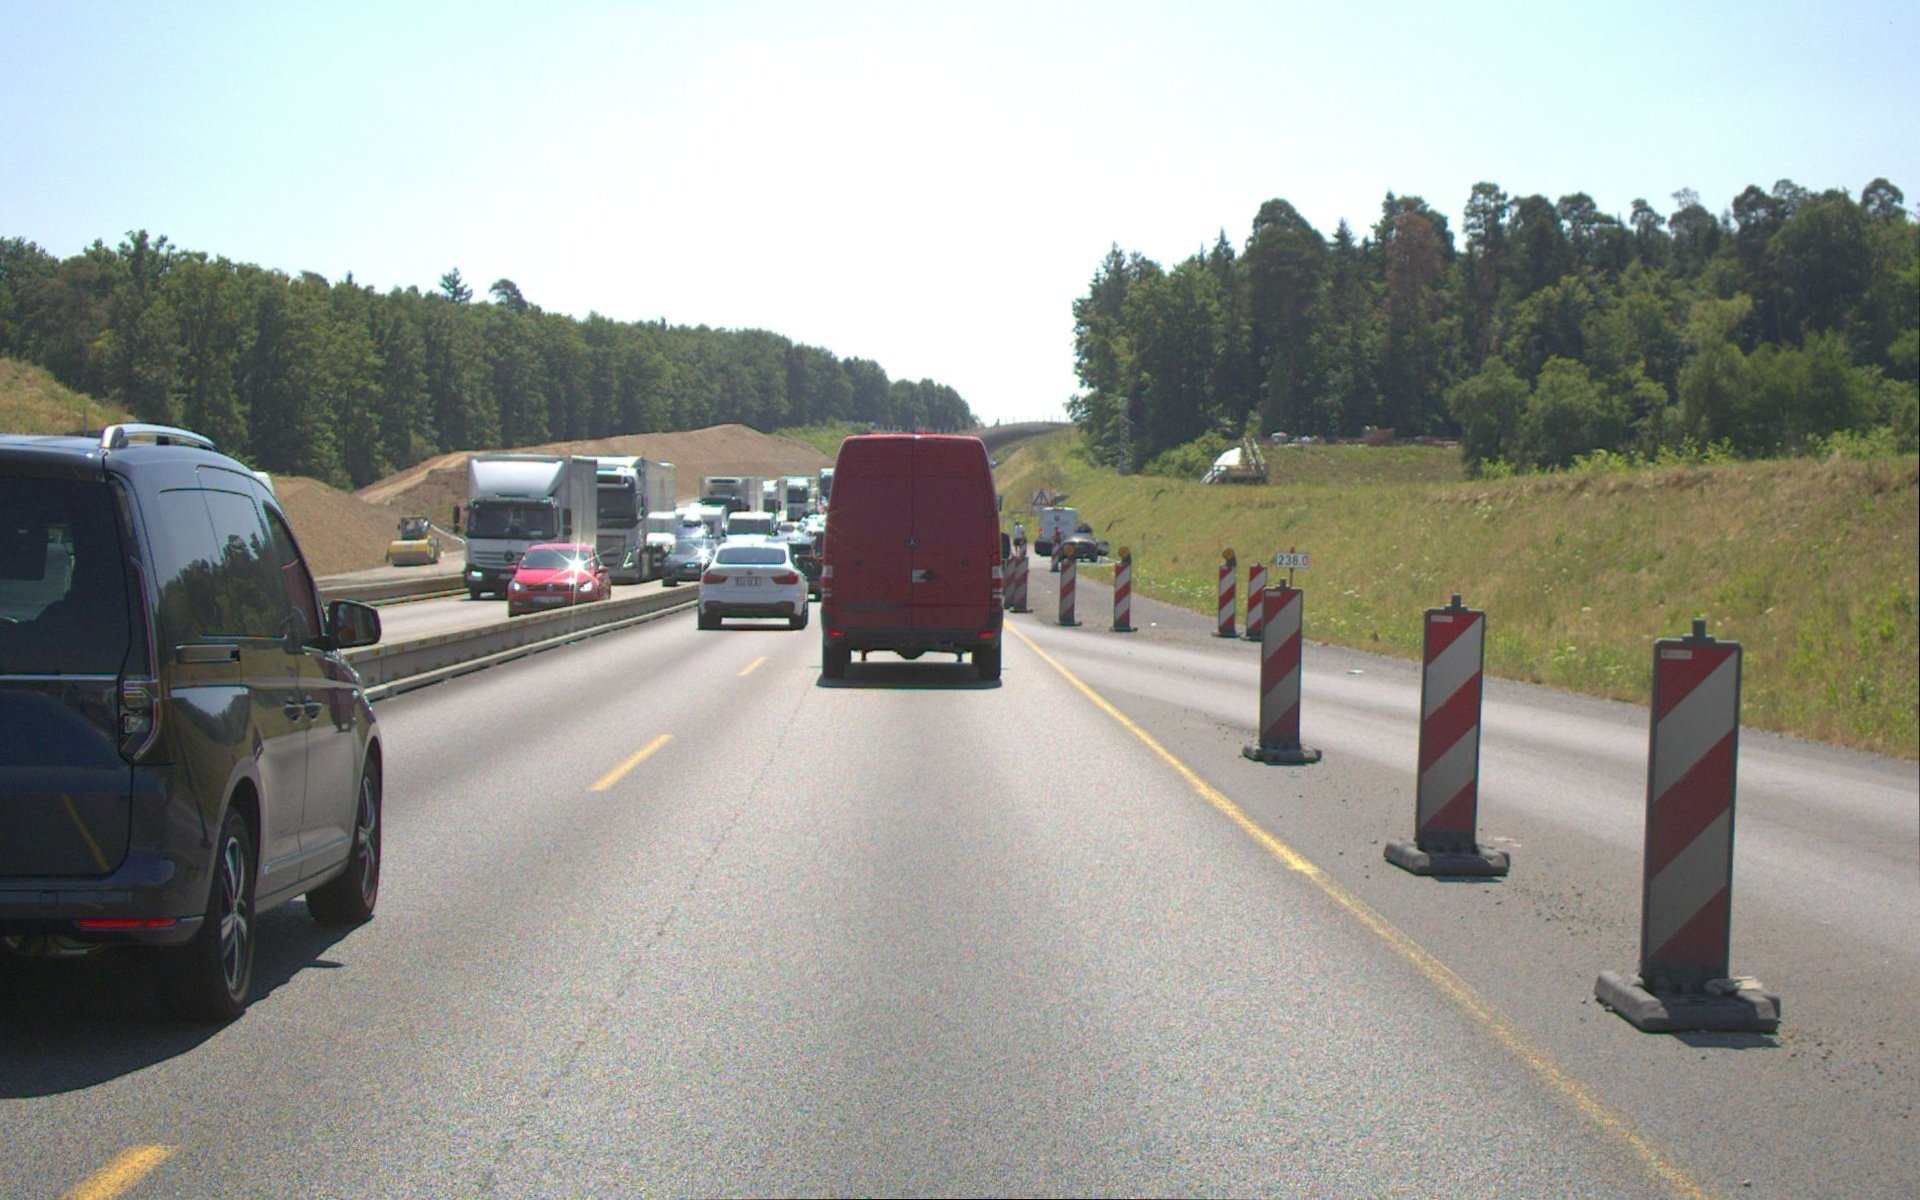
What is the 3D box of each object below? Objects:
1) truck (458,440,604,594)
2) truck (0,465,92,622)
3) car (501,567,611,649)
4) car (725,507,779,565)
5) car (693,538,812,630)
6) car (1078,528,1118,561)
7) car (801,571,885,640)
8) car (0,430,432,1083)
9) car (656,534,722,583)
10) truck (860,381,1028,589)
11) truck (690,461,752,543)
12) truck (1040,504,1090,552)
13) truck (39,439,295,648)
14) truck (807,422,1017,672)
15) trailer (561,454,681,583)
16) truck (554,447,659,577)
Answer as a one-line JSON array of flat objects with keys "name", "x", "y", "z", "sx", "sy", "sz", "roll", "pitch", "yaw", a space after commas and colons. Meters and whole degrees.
[{"name": "truck", "x": -10.964, "y": -2.087, "z": 88.721, "sx": 2.644, "sy": 3.703, "sz": 9.483, "roll": 1, "pitch": 1, "yaw": -1}, {"name": "truck", "x": -19.552, "y": -1.115, "z": 65.763, "sx": 5.047, "sy": 2.954, "sz": 2.586, "roll": 1, "pitch": 0, "yaw": -39}, {"name": "car", "x": -7.610, "y": 0.131, "z": 65.051, "sx": 1.627, "sy": 1.479, "sz": 4.054, "roll": 1, "pitch": 1, "yaw": -1}, {"name": "car", "x": -8.505, "y": -2.639, "z": 141.134, "sx": 1.993, "sy": 2.284, "sz": 5.344, "roll": 1, "pitch": 2, "yaw": -1}, {"name": "car", "x": -3.562, "y": -0.291, "z": 59.567, "sx": 1.831, "sy": 1.517, "sz": 3.961, "roll": 1, "pitch": 1, "yaw": -1}, {"name": "car", "x": 6.610, "y": -2.670, "z": 164.760, "sx": 1.654, "sy": 1.422, "sz": 4.545, "roll": -2, "pitch": 2, "yaw": 0}, {"name": "car", "x": -2.874, "y": 0.116, "z": 85.511, "sx": 1.967, "sy": 1.536, "sz": 4.311, "roll": 1, "pitch": 2, "yaw": -1}, {"name": "car", "x": -3.070, "y": 0.361, "z": 11.988, "sx": 1.751, "sy": 1.818, "sz": 4.783, "roll": 1, "pitch": 2, "yaw": -1}, {"name": "car", "x": -8.332, "y": -1.268, "z": 105.914, "sx": 1.857, "sy": 1.437, "sz": 4.502, "roll": 1, "pitch": 1, "yaw": -3}, {"name": "truck", "x": -0.527, "y": -3.164, "z": 99.984, "sx": 4.400, "sy": 5.477, "sz": 16.604, "roll": 1, "pitch": 1, "yaw": -1}, {"name": "truck", "x": -12.528, "y": -5.139, "z": 180.784, "sx": 2.491, "sy": 4.184, "sz": 5.911, "roll": -1, "pitch": 1, "yaw": 3}, {"name": "truck", "x": 5.609, "y": -3.846, "z": 182.699, "sx": 2.130, "sy": 2.448, "sz": 5.924, "roll": 1, "pitch": 2, "yaw": 6}, {"name": "truck", "x": -10.542, "y": -0.838, "z": 46.227, "sx": 2.098, "sy": 2.560, "sz": 6.356, "roll": 2, "pitch": 2, "yaw": -2}, {"name": "truck", "x": -0.562, "y": -0.586, "z": 38.644, "sx": 2.153, "sy": 2.581, "sz": 5.334, "roll": 1, "pitch": 1, "yaw": -1}, {"name": "trailer", "x": -11.358, "y": -2.672, "z": 116.313, "sx": 2.854, "sy": 4.079, "sz": 13.653, "roll": -1, "pitch": 1, "yaw": -1}, {"name": "truck", "x": -11.192, "y": -2.765, "z": 109.187, "sx": 2.848, "sy": 4.004, "sz": 4.859, "roll": -1, "pitch": 1, "yaw": -1}]
